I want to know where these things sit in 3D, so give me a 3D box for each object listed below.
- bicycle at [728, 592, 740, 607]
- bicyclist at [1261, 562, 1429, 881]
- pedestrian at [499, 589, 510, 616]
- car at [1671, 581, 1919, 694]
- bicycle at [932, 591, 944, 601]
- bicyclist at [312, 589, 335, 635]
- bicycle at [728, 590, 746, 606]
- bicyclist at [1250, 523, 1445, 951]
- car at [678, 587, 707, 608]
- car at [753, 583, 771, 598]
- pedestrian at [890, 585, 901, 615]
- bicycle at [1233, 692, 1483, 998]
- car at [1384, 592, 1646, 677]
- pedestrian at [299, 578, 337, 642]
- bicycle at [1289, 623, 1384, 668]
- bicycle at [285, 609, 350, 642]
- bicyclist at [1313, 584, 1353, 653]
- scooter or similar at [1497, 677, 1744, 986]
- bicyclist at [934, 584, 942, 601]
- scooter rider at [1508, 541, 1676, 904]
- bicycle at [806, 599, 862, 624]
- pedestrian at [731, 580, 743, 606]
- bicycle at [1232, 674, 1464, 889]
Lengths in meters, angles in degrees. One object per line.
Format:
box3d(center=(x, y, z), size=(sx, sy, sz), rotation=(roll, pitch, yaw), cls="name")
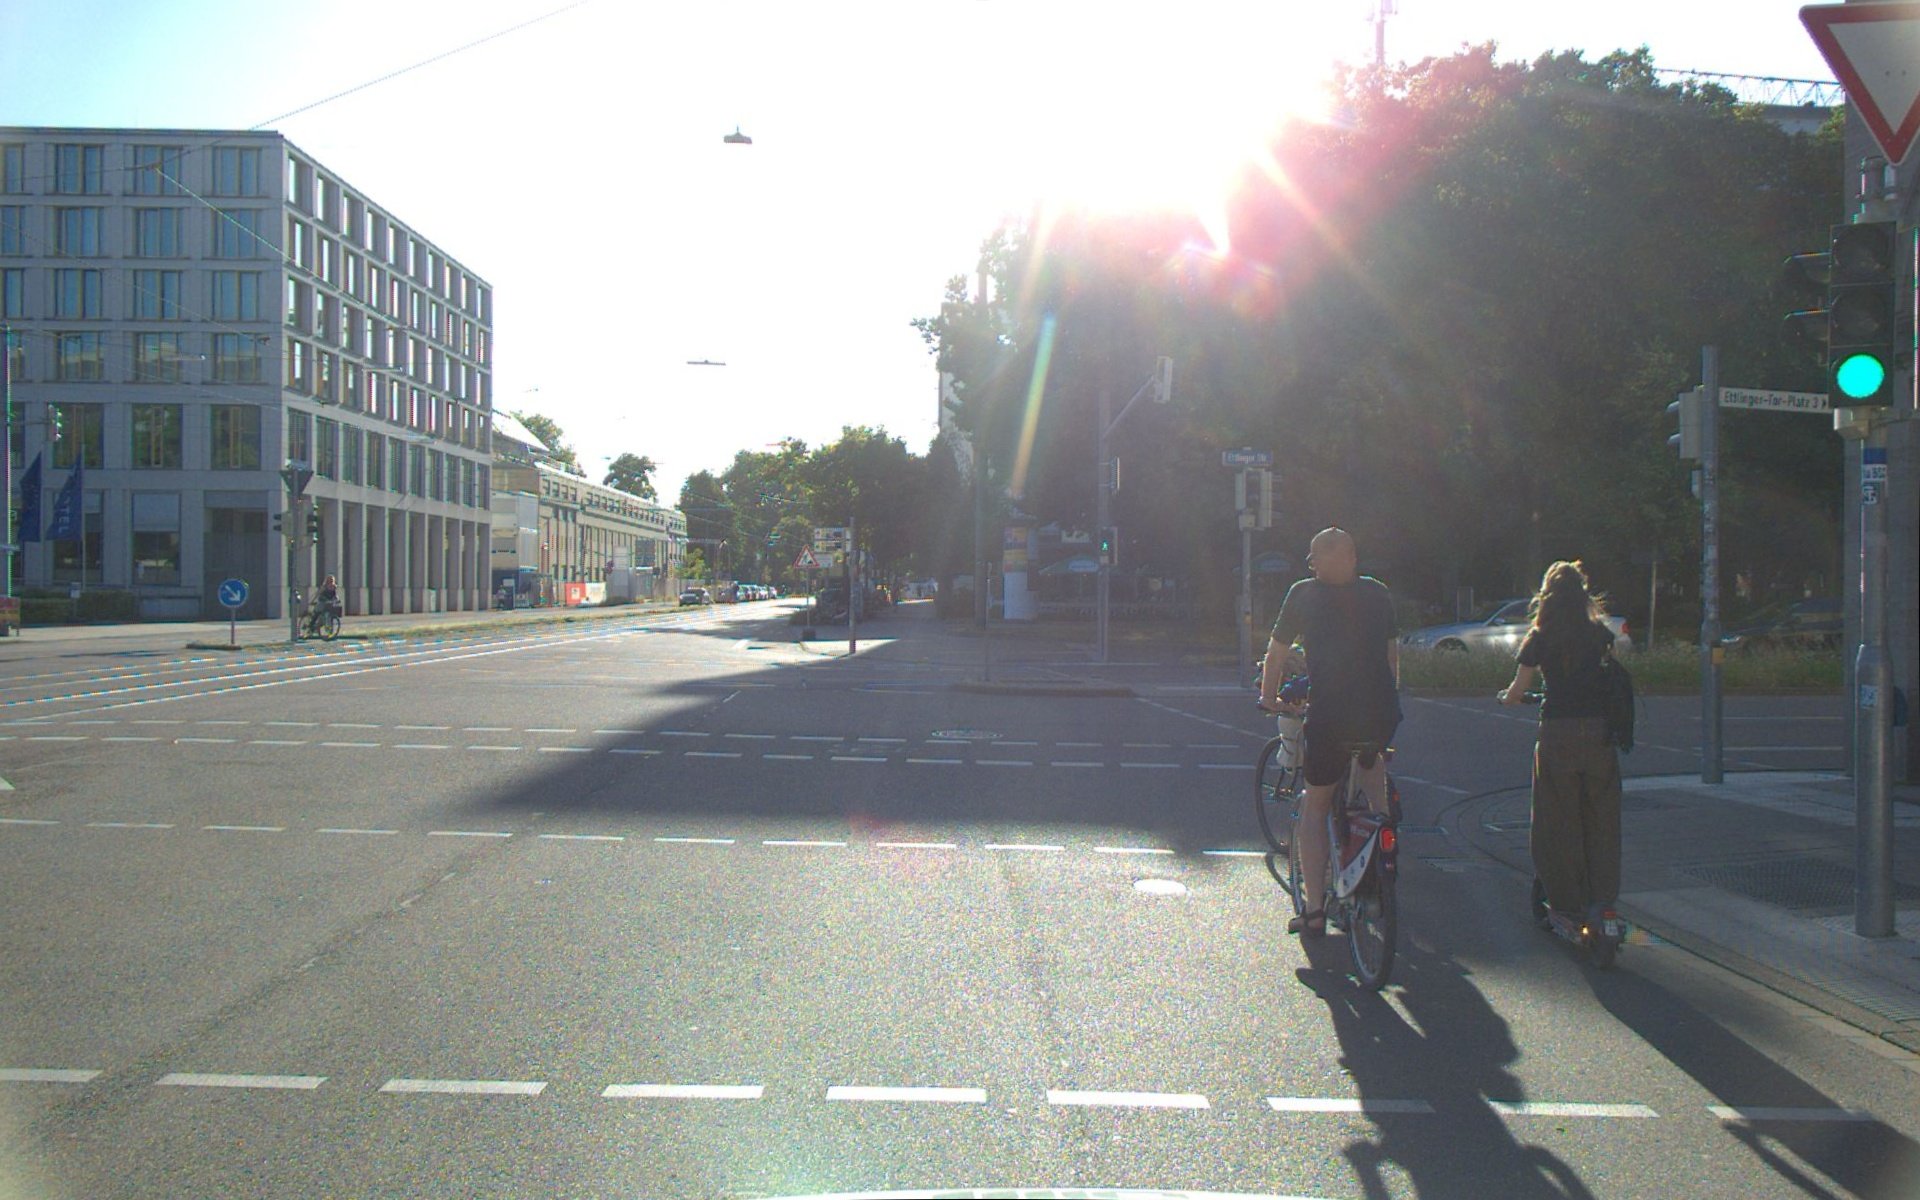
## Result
box3d(center=(-19.245, -0.050, 140.857), size=(0.735, 1.226, 3.107), rotation=(1, 0, -2), cls="bicycle")
box3d(center=(2.242, 0.671, 9.718), size=(0.574, 1.769, 0.946), rotation=(0, 0, -16), cls="bicyclist")
box3d(center=(-31.746, 0.173, 115.344), size=(0.575, 1.922, 0.478), rotation=(1, -1, 8), cls="pedestrian")
box3d(center=(16.236, 0.711, 32.241), size=(3.905, 2.049, 2.000), rotation=(1, -1, 0), cls="car")
box3d(center=(-2.642, -0.494, 199.189), size=(0.875, 1.240, 2.785), rotation=(1, 0, -12), cls="bicycle")
box3d(center=(-21.329, 0.411, 55.404), size=(0.484, 1.525, 0.666), rotation=(0, 0, 2), cls="bicyclist")
box3d(center=(-18.159, -0.147, 134.704), size=(0.735, 1.226, 3.109), rotation=(1, 0, 5), cls="bicycle")
box3d(center=(1.662, 0.558, 7.213), size=(0.610, 1.745, 0.912), rotation=(0, 0, -2), cls="bicyclist")
box3d(center=(-21.704, -0.192, 134.276), size=(1.954, 1.627, 3.997), rotation=(0, 0, -3), cls="car")
box3d(center=(-23.135, -1.102, 193.198), size=(1.954, 1.673, 3.997), rotation=(0, 0, -4), cls="car")
box3d(center=(-3.758, -0.019, 96.322), size=(0.566, 1.719, 0.584), rotation=(0, 0, -8), cls="pedestrian")
box3d(center=(1.668, 0.985, 7.198), size=(0.610, 1.062, 1.746), rotation=(0, 0, -2), cls="bicycle")
box3d(center=(10.857, 0.665, 32.584), size=(4.483, 1.543, 2.000), rotation=(1, 0, -1), cls="car")
box3d(center=(-16.480, 0.248, 42.478), size=(0.727, 1.623, 0.573), rotation=(0, 0, 26), cls="pedestrian")
box3d(center=(8.039, 0.967, 35.342), size=(1.902, 0.905, 0.718), rotation=(1, -1, 5), cls="bicycle")
box3d(center=(-16.512, 0.645, 42.493), size=(1.679, 0.837, 0.573), rotation=(0, 0, 27), cls="bicycle")
box3d(center=(7.962, 0.391, 35.350), size=(0.731, 1.431, 0.702), rotation=(1, -1, 6), cls="bicyclist")
box3d(center=(2.866, 0.962, 7.296), size=(0.561, 1.170, 1.272), rotation=(1, 0, 0), cls="scooter or similar")
box3d(center=(-2.643, -0.918, 199.205), size=(0.875, 2.049, 0.746), rotation=(1, -1, -12), cls="bicyclist")
box3d(center=(2.876, 0.540, 7.561), size=(0.534, 1.590, 0.576), rotation=(0, -1, -3), cls="scooter rider")
box3d(center=(-5.027, 0.464, 65.974), size=(2.201, 0.956, 0.653), rotation=(0, 0, -6), cls="bicycle")
box3d(center=(-18.142, -0.580, 134.773), size=(0.735, 2.099, 1.050), rotation=(1, -1, 4), cls="pedestrian")
box3d(center=(2.234, 1.014, 9.762), size=(0.572, 1.062, 1.739), rotation=(0, 0, -16), cls="bicycle")
